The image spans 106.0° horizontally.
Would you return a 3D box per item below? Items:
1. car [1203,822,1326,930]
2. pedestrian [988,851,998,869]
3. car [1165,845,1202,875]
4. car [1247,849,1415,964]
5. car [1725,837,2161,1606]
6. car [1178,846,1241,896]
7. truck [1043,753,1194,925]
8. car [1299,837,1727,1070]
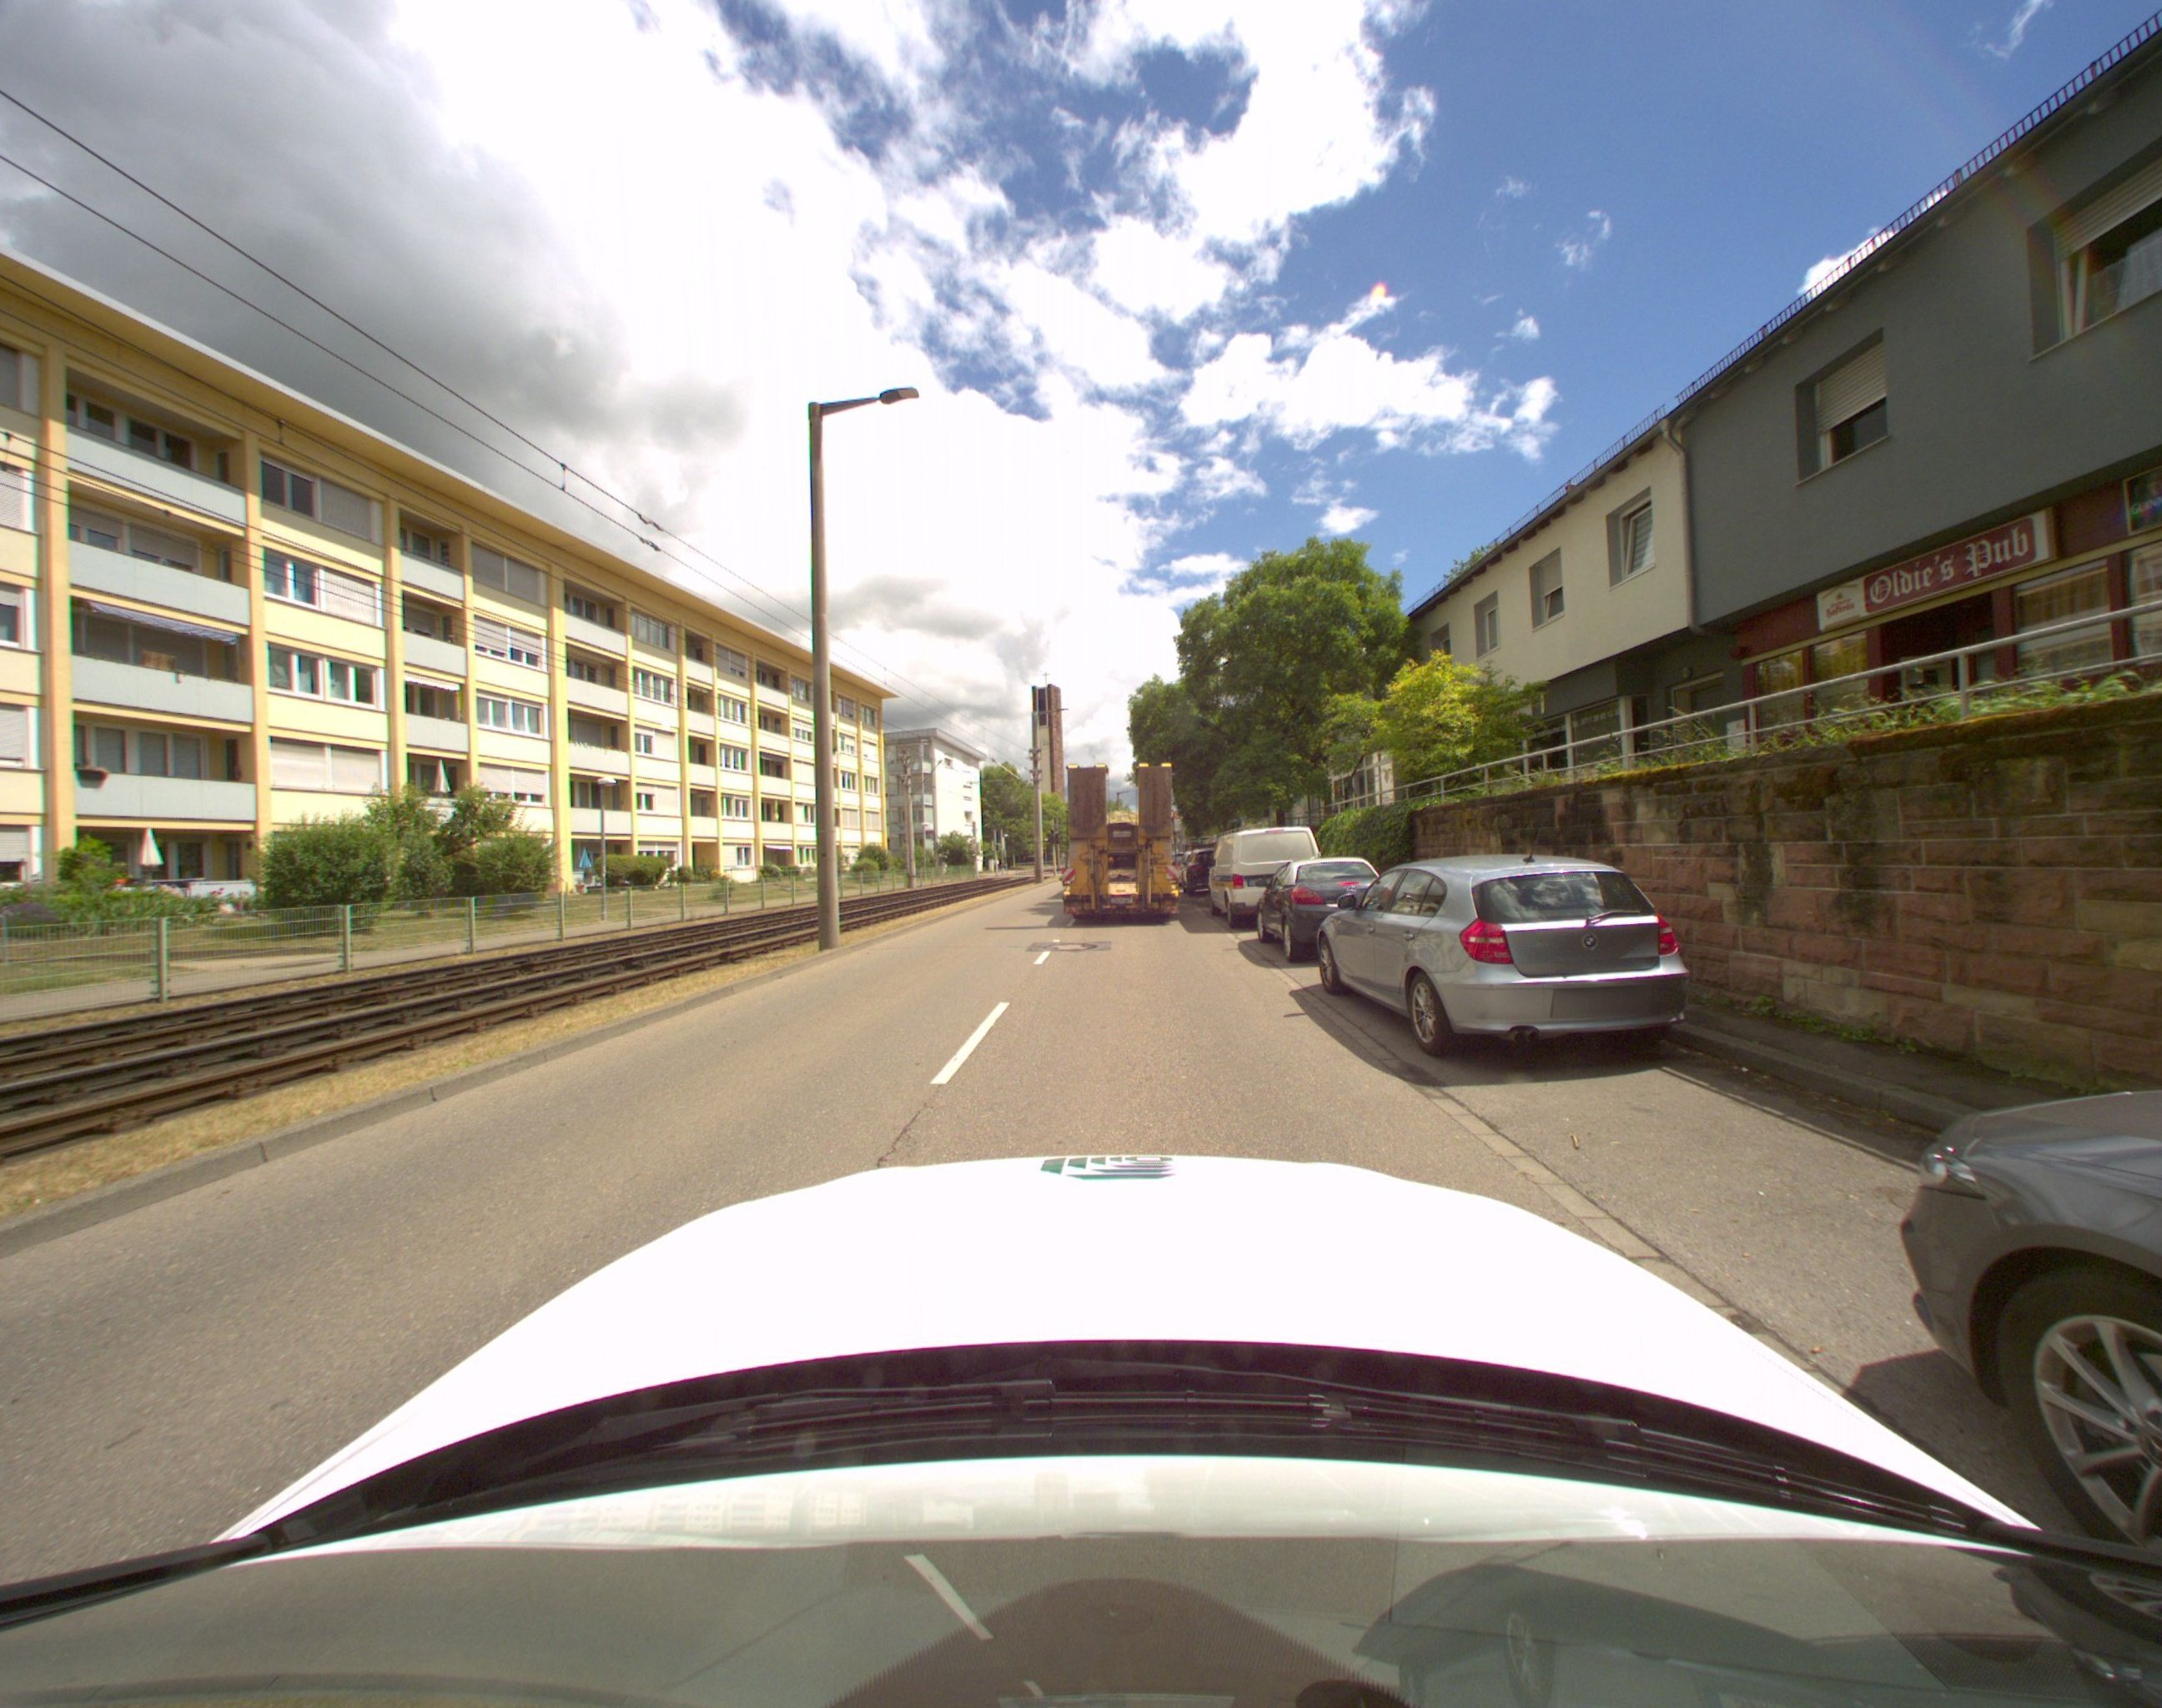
[{"bbox_3d":[3.843,0.398,17.854,1.792,1.968,4.593,-3,0,3],"label":"car"},{"bbox_3d":[-9.654,0.654,89.462,0.952,2.013,1.174,-2,0,-12],"label":"pedestrian"},{"bbox_3d":[6.005,0.332,48.019,1.792,1.623,4.295,-2,0,3],"label":"car"},{"bbox_3d":[3.624,0.679,12.438,1.613,1.405,3.654,-3,0,4],"label":"car"},{"bbox_3d":[2.851,0.694,0.357,1.828,1.405,4.419,-3,0,4],"label":"car"},{"bbox_3d":[4.629,0.548,29.754,1.792,1.623,4.295,-2,0,3],"label":"car"},{"bbox_3d":[0.991,-0.367,23.611,3.112,3.564,12.465,-2,0,2],"label":"truck"},{"bbox_3d":[3.315,0.624,7.258,1.684,1.405,4.070,-3,0,1],"label":"car"}]
